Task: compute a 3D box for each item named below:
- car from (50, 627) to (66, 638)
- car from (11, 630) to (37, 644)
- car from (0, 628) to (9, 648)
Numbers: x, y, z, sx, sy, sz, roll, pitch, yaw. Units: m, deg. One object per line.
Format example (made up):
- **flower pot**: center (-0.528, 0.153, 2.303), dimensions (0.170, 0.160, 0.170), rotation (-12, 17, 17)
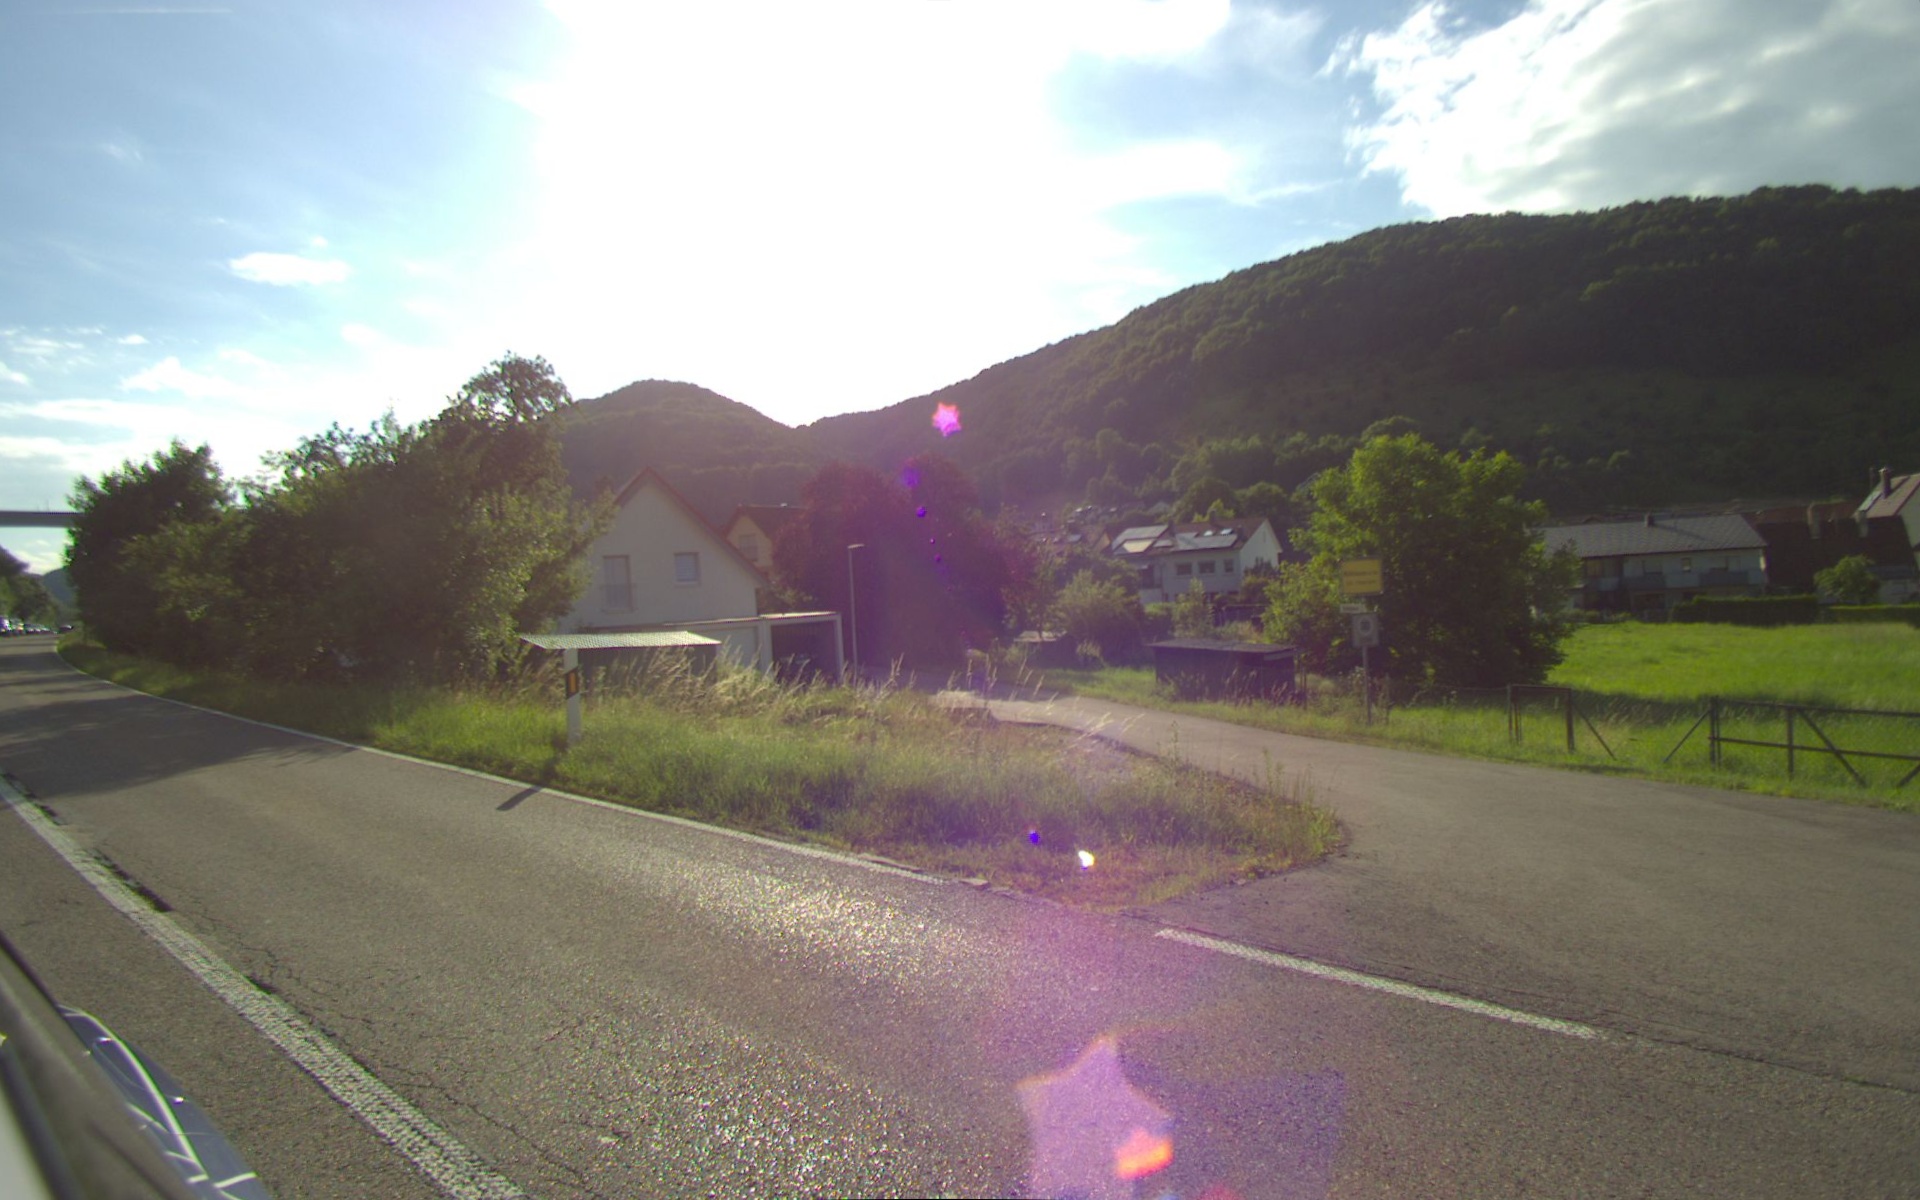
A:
- **car**: center (-145.293, 5.218, 162.928), dimensions (1.792, 1.630, 3.809), rotation (1, -2, -43)
- **car**: center (-112.082, 4.394, 121.182), dimensions (1.813, 1.564, 4.186), rotation (1, -2, -37)
- **car**: center (-79.978, 3.138, 83.683), dimensions (1.792, 1.630, 4.005), rotation (1, -2, -41)
